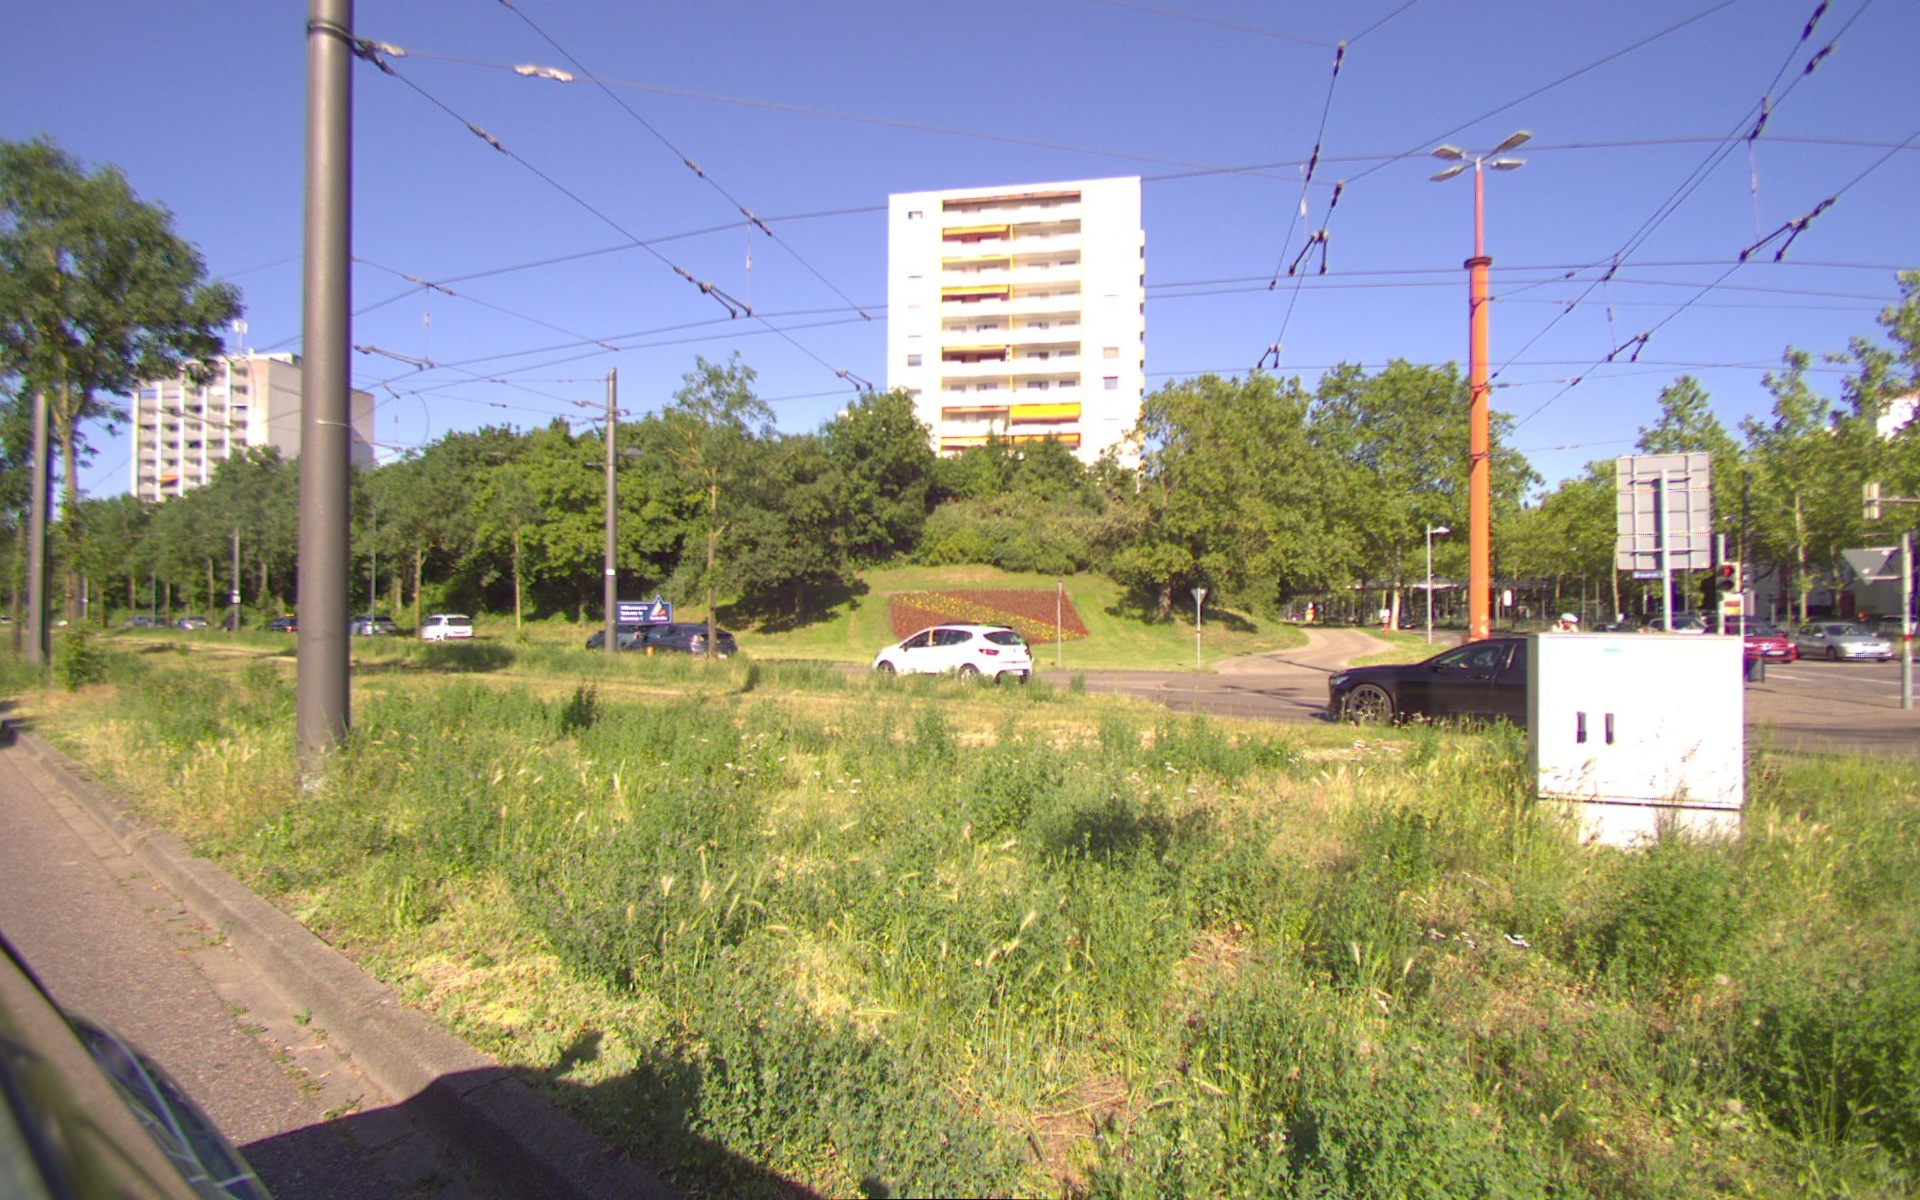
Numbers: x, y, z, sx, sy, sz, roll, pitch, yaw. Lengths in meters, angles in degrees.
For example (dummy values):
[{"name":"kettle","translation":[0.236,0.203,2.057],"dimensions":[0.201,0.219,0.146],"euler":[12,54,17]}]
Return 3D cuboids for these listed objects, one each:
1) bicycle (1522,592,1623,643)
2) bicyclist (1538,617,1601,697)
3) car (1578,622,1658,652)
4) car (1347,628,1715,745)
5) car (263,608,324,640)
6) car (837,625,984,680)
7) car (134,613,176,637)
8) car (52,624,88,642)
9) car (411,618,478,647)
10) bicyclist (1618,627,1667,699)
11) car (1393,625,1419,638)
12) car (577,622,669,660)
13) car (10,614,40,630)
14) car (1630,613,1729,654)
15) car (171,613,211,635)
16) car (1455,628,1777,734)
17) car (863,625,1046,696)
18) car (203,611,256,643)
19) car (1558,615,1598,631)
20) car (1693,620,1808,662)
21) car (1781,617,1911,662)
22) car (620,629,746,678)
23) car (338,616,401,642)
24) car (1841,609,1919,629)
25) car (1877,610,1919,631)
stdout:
[{"name":"bicycle","translation":[12.205,0.351,20.222],"dimensions":[0.673,0.968,1.650],"euler":[0,-1,-21]},{"name":"bicyclist","translation":[12.207,1.123,20.277],"dimensions":[0.719,1.557,0.770],"euler":[0,-2,-20]},{"name":"car","translation":[32.128,1.775,49.578],"dimensions":[1.747,1.360,4.347],"euler":[-1,-1,11]},{"name":"car","translation":[8.064,1.122,14.560],"dimensions":[4.310,1.427,1.775],"euler":[-1,-2,43]},{"name":"car","translation":[-37.618,1.350,57.092],"dimensions":[3.998,1.779,1.858],"euler":[-1,-2,41]},{"name":"car","translation":[-1.444,1.430,28.630],"dimensions":[3.998,1.429,1.843],"euler":[-1,-2,41]},{"name":"car","translation":[-61.829,1.925,77.737],"dimensions":[3.998,1.779,1.858],"euler":[-1,-2,41]},{"name":"car","translation":[-83.597,3.096,95.057],"dimensions":[3.995,1.674,1.886],"euler":[-1,-2,39]},{"name":"car","translation":[-26.385,1.635,51.738],"dimensions":[4.000,1.409,1.822],"euler":[-1,-2,43]},{"name":"bicyclist","translation":[13.333,1.215,19.772],"dimensions":[0.435,1.391,0.631],"euler":[0,-2,-20]},{"name":"car","translation":[49.085,3.446,111.435],"dimensions":[1.747,1.360,4.347],"euler":[-1,-1,11]},{"name":"car","translation":[-13.044,1.535,39.076],"dimensions":[4.001,1.386,1.717],"euler":[-1,-2,44]},{"name":"car","translation":[-105.873,2.486,114.583],"dimensions":[3.993,1.779,1.860],"euler":[-1,-1,37]},{"name":"car","translation":[30.468,1.385,43.002],"dimensions":[1.810,1.648,4.237],"euler":[0,-1,12]},{"name":"car","translation":[-63.306,1.945,83.265],"dimensions":[3.998,1.779,1.858],"euler":[-1,-2,41]},{"name":"car","translation":[10.812,1.233,16.903],"dimensions":[1.767,1.519,4.243],"euler":[1,-2,-45]},{"name":"car","translation":[-0.190,1.297,22.884],"dimensions":[4.000,1.429,1.842],"euler":[-1,-2,43]},{"name":"car","translation":[-48.141,1.748,66.674],"dimensions":[3.998,2.029,1.973],"euler":[-1,-2,41]},{"name":"car","translation":[79.766,2.979,130.620],"dimensions":[3.969,2.029,1.987],"euler":[-1,-1,20]},{"name":"car","translation":[28.906,1.460,37.175],"dimensions":[1.668,1.446,4.049],"euler":[-1,-1,12]},{"name":"car","translation":[32.141,1.404,36.889],"dimensions":[1.841,1.557,4.241],"euler":[-1,-1,15]},{"name":"car","translation":[-8.565,1.584,31.137],"dimensions":[4.229,1.371,1.801],"euler":[-1,-2,43]},{"name":"car","translation":[-34.275,1.673,58.715],"dimensions":[3.998,1.497,1.972],"euler":[-1,-2,41]},{"name":"car","translation":[65.872,1.368,72.395],"dimensions":[1.770,1.420,4.010],"euler":[1,-1,-36]},{"name":"car","translation":[64.884,1.390,68.413],"dimensions":[1.770,1.420,4.010],"euler":[1,-1,-36]}]
